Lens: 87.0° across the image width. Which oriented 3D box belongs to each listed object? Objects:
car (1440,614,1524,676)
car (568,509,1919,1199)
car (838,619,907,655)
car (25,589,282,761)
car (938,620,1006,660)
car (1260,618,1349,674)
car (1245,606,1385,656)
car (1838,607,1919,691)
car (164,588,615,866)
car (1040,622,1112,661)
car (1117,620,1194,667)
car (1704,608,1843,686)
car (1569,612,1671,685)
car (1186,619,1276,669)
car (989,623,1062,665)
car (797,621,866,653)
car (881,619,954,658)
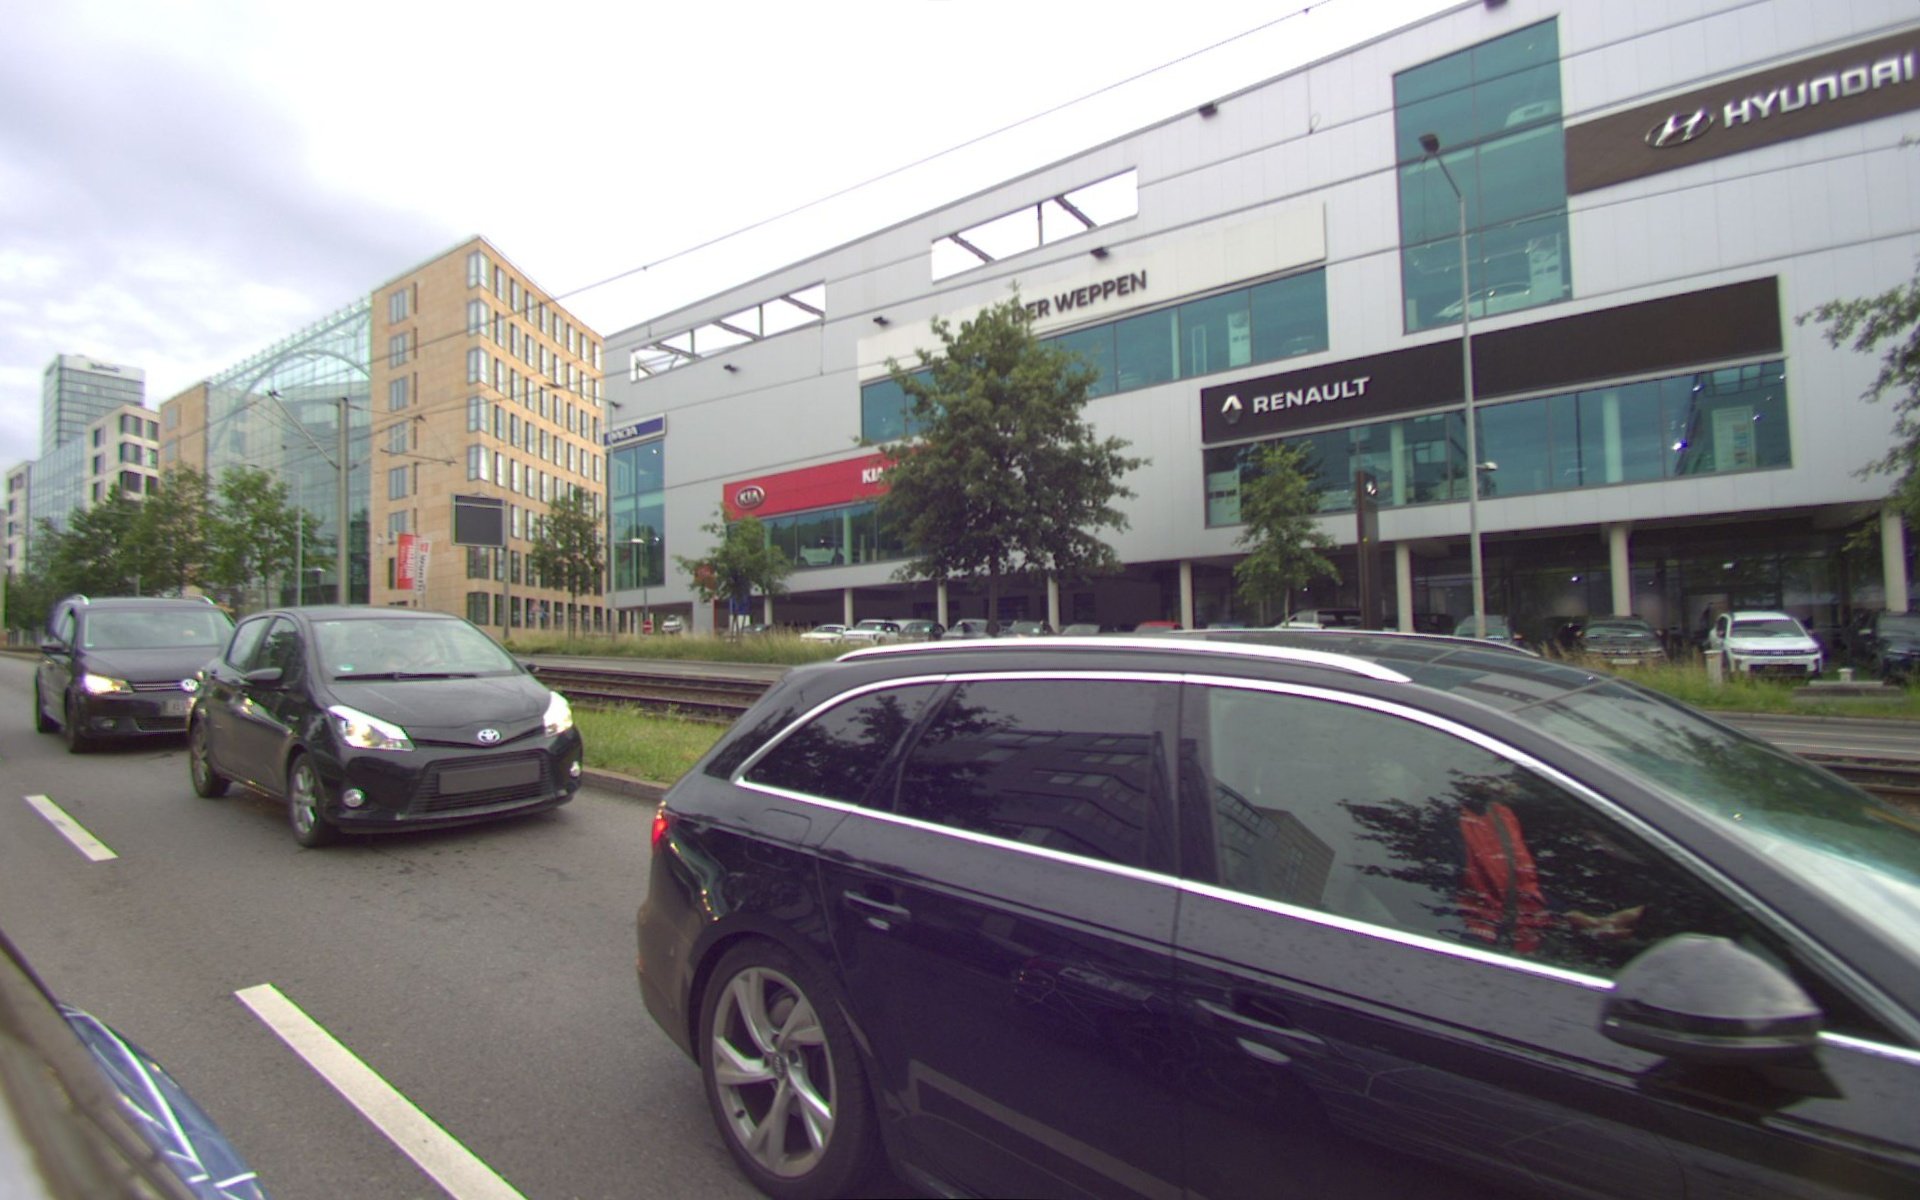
[{"bbox_3d":[14.910,1.223,28.814,1.925,1.470,3.981,-1,1,30],"label":"car"},{"bbox_3d":[1.115,0.655,2.160,4.511,1.478,1.762,-1,-1,41],"label":"car"},{"bbox_3d":[-3.733,1.584,43.826,1.685,1.304,3.643,-1,1,18],"label":"car"},{"bbox_3d":[-9.439,0.733,11.711,4.318,1.619,1.762,-1,-1,44],"label":"car"},{"bbox_3d":[0.521,1.559,40.541,1.686,1.362,3.503,-1,1,20],"label":"car"},{"bbox_3d":[11.004,1.416,32.194,1.914,1.470,4.005,-1,1,30],"label":"car"},{"bbox_3d":[13.017,1.134,37.343,4.488,1.796,1.997,0,-1,5],"label":"car"},{"bbox_3d":[21.869,1.050,23.059,1.992,1.627,4.331,-1,1,30],"label":"car"},{"bbox_3d":[-4.355,0.726,7.497,3.823,1.544,1.683,-1,-1,40],"label":"car"},{"bbox_3d":[4.303,1.503,37.179,1.689,1.190,3.498,-1,1,24],"label":"car"},{"bbox_3d":[6.869,1.464,35.299,1.789,1.362,3.903,-1,1,24],"label":"car"},{"bbox_3d":[19.645,1.063,24.647,1.992,1.561,4.331,-1,1,30],"label":"car"},{"bbox_3d":[17.107,1.179,26.426,1.992,1.561,4.331,-1,1,30],"label":"car"},{"bbox_3d":[9.131,1.415,33.892,1.914,1.362,4.005,-1,1,30],"label":"car"},{"bbox_3d":[2.555,1.633,38.642,1.689,1.362,3.498,-1,1,24],"label":"car"},{"bbox_3d":[-5.722,1.628,45.505,1.685,1.196,3.643,-1,1,18],"label":"car"},{"bbox_3d":[-1.727,1.556,41.893,1.688,1.362,3.499,-1,1,23],"label":"car"}]
